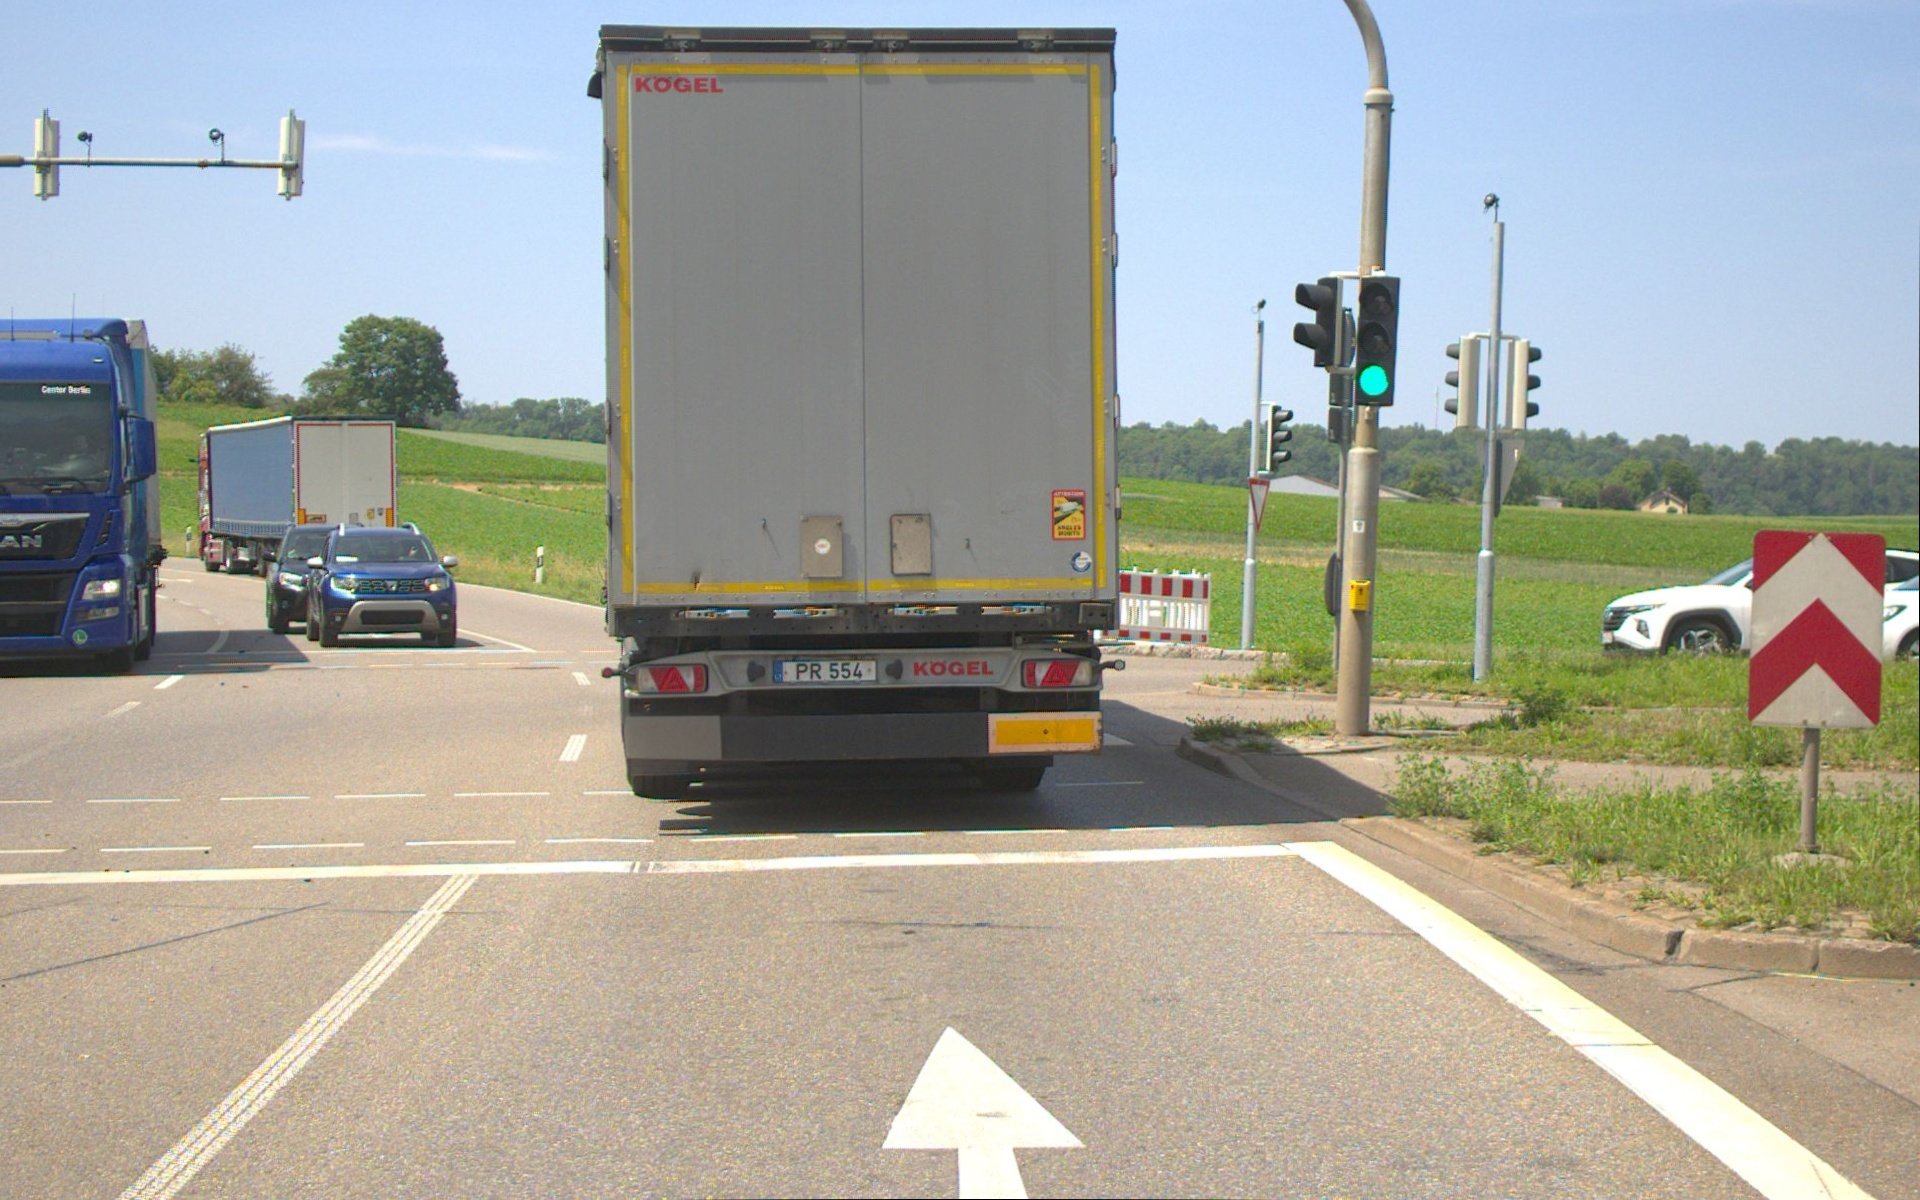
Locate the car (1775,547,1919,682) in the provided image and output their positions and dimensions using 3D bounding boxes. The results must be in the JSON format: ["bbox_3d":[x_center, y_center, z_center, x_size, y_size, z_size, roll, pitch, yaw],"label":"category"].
[{"bbox_3d":[11.064,0.162,37.241,3.958,1.414,1.828,0,0,-8],"label":"car"}]

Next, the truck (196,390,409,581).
[{"bbox_3d":[-17.517,-2.926,90.376,2.960,4.568,16.321,0,1,-20],"label":"truck"}]

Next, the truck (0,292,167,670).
[{"bbox_3d":[-10.642,-1.352,39.867,2.566,4.016,6.562,0,2,-11],"label":"truck"}]

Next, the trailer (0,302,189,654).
[{"bbox_3d":[-11.827,-1.571,45.986,2.566,4.016,13.599,0,2,-11],"label":"trailer"}]

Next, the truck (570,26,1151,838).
[{"bbox_3d":[-0.812,-0.894,21.547,2.807,3.932,9.592,0,1,-4],"label":"truck"}]

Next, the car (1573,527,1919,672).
[{"bbox_3d":[9.900,0.022,41.265,4.625,1.602,1.999,2,-1,-4],"label":"car"}]

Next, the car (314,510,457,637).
[{"bbox_3d":[-7.891,-0.383,46.995,1.770,1.653,4.001,0,1,-12],"label":"car"}]

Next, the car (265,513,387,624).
[{"bbox_3d":[-9.794,-0.504,52.998,1.770,1.653,4.001,0,1,-11],"label":"car"}]
